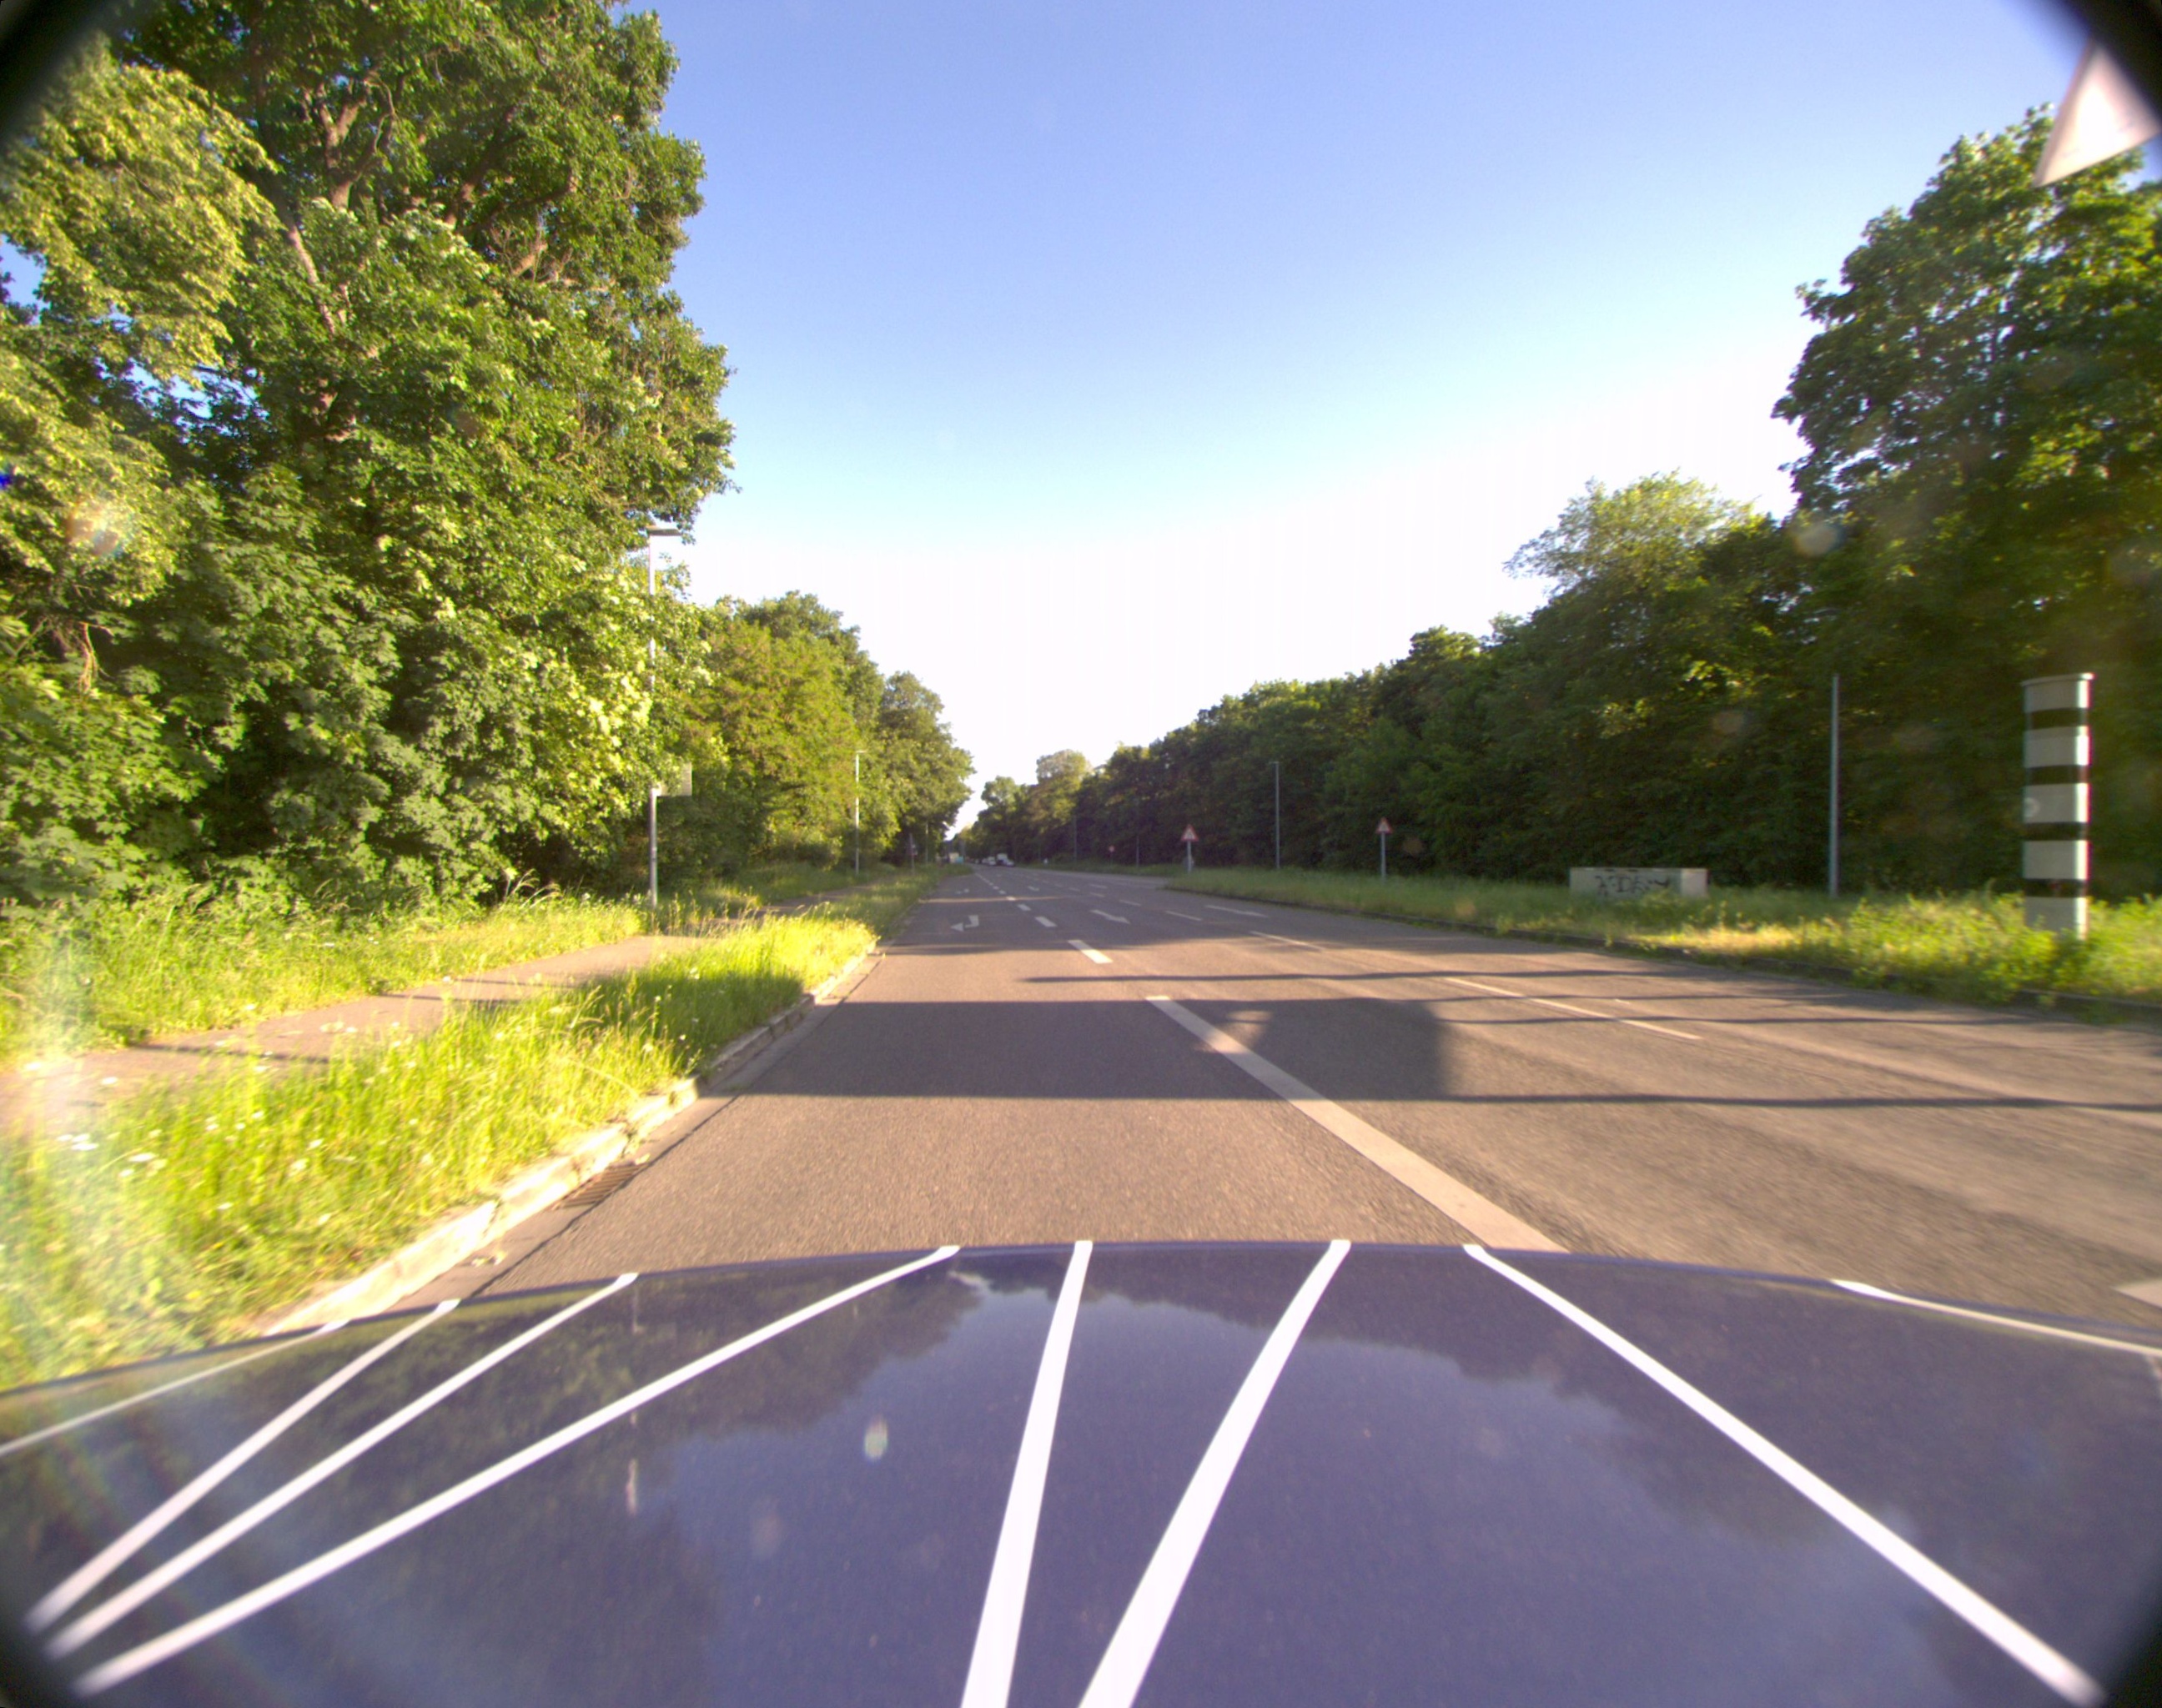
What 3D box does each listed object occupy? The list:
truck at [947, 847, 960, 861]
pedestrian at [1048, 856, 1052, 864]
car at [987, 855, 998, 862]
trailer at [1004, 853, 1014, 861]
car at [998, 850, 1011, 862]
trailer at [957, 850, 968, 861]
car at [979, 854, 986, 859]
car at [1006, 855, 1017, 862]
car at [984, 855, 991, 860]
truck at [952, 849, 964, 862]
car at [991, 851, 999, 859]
[{"bbox_3d":[-30.779,0.054,183.406,2.709,3.218,7.120,1,0,-13],"label":"truck"},{"bbox_3d":[-5.900,1.078,143.440,0.714,1.556,0.825,0,0,-9],"label":"pedestrian"},{"bbox_3d":[-18.985,1.040,162.978,1.835,1.447,4.475,0,0,-14],"label":"car"},{"bbox_3d":[-15.880,0.660,167.247,1.808,1.719,3.643,1,0,-13],"label":"trailer"},{"bbox_3d":[-18.083,0.480,179.617,2.463,2.830,4.793,1,0,-13],"label":"car"},{"bbox_3d":[-24.426,0.381,156.294,1.871,2.165,4.124,-2,1,-13],"label":"trailer"},{"bbox_3d":[-30.960,0.866,238.765,1.808,1.496,3.908,1,0,-13],"label":"car"},{"bbox_3d":[-14.957,0.917,162.874,1.916,1.455,4.007,1,0,-13],"label":"car"},{"bbox_3d":[-27.508,0.958,223.173,1.808,1.496,3.908,1,0,-13],"label":"car"},{"bbox_3d":[-28.162,0.356,173.665,2.392,2.855,5.592,-3,1,-13],"label":"truck"},{"bbox_3d":[-24.027,0.347,211.216,1.693,2.089,4.627,1,0,-13],"label":"car"}]
